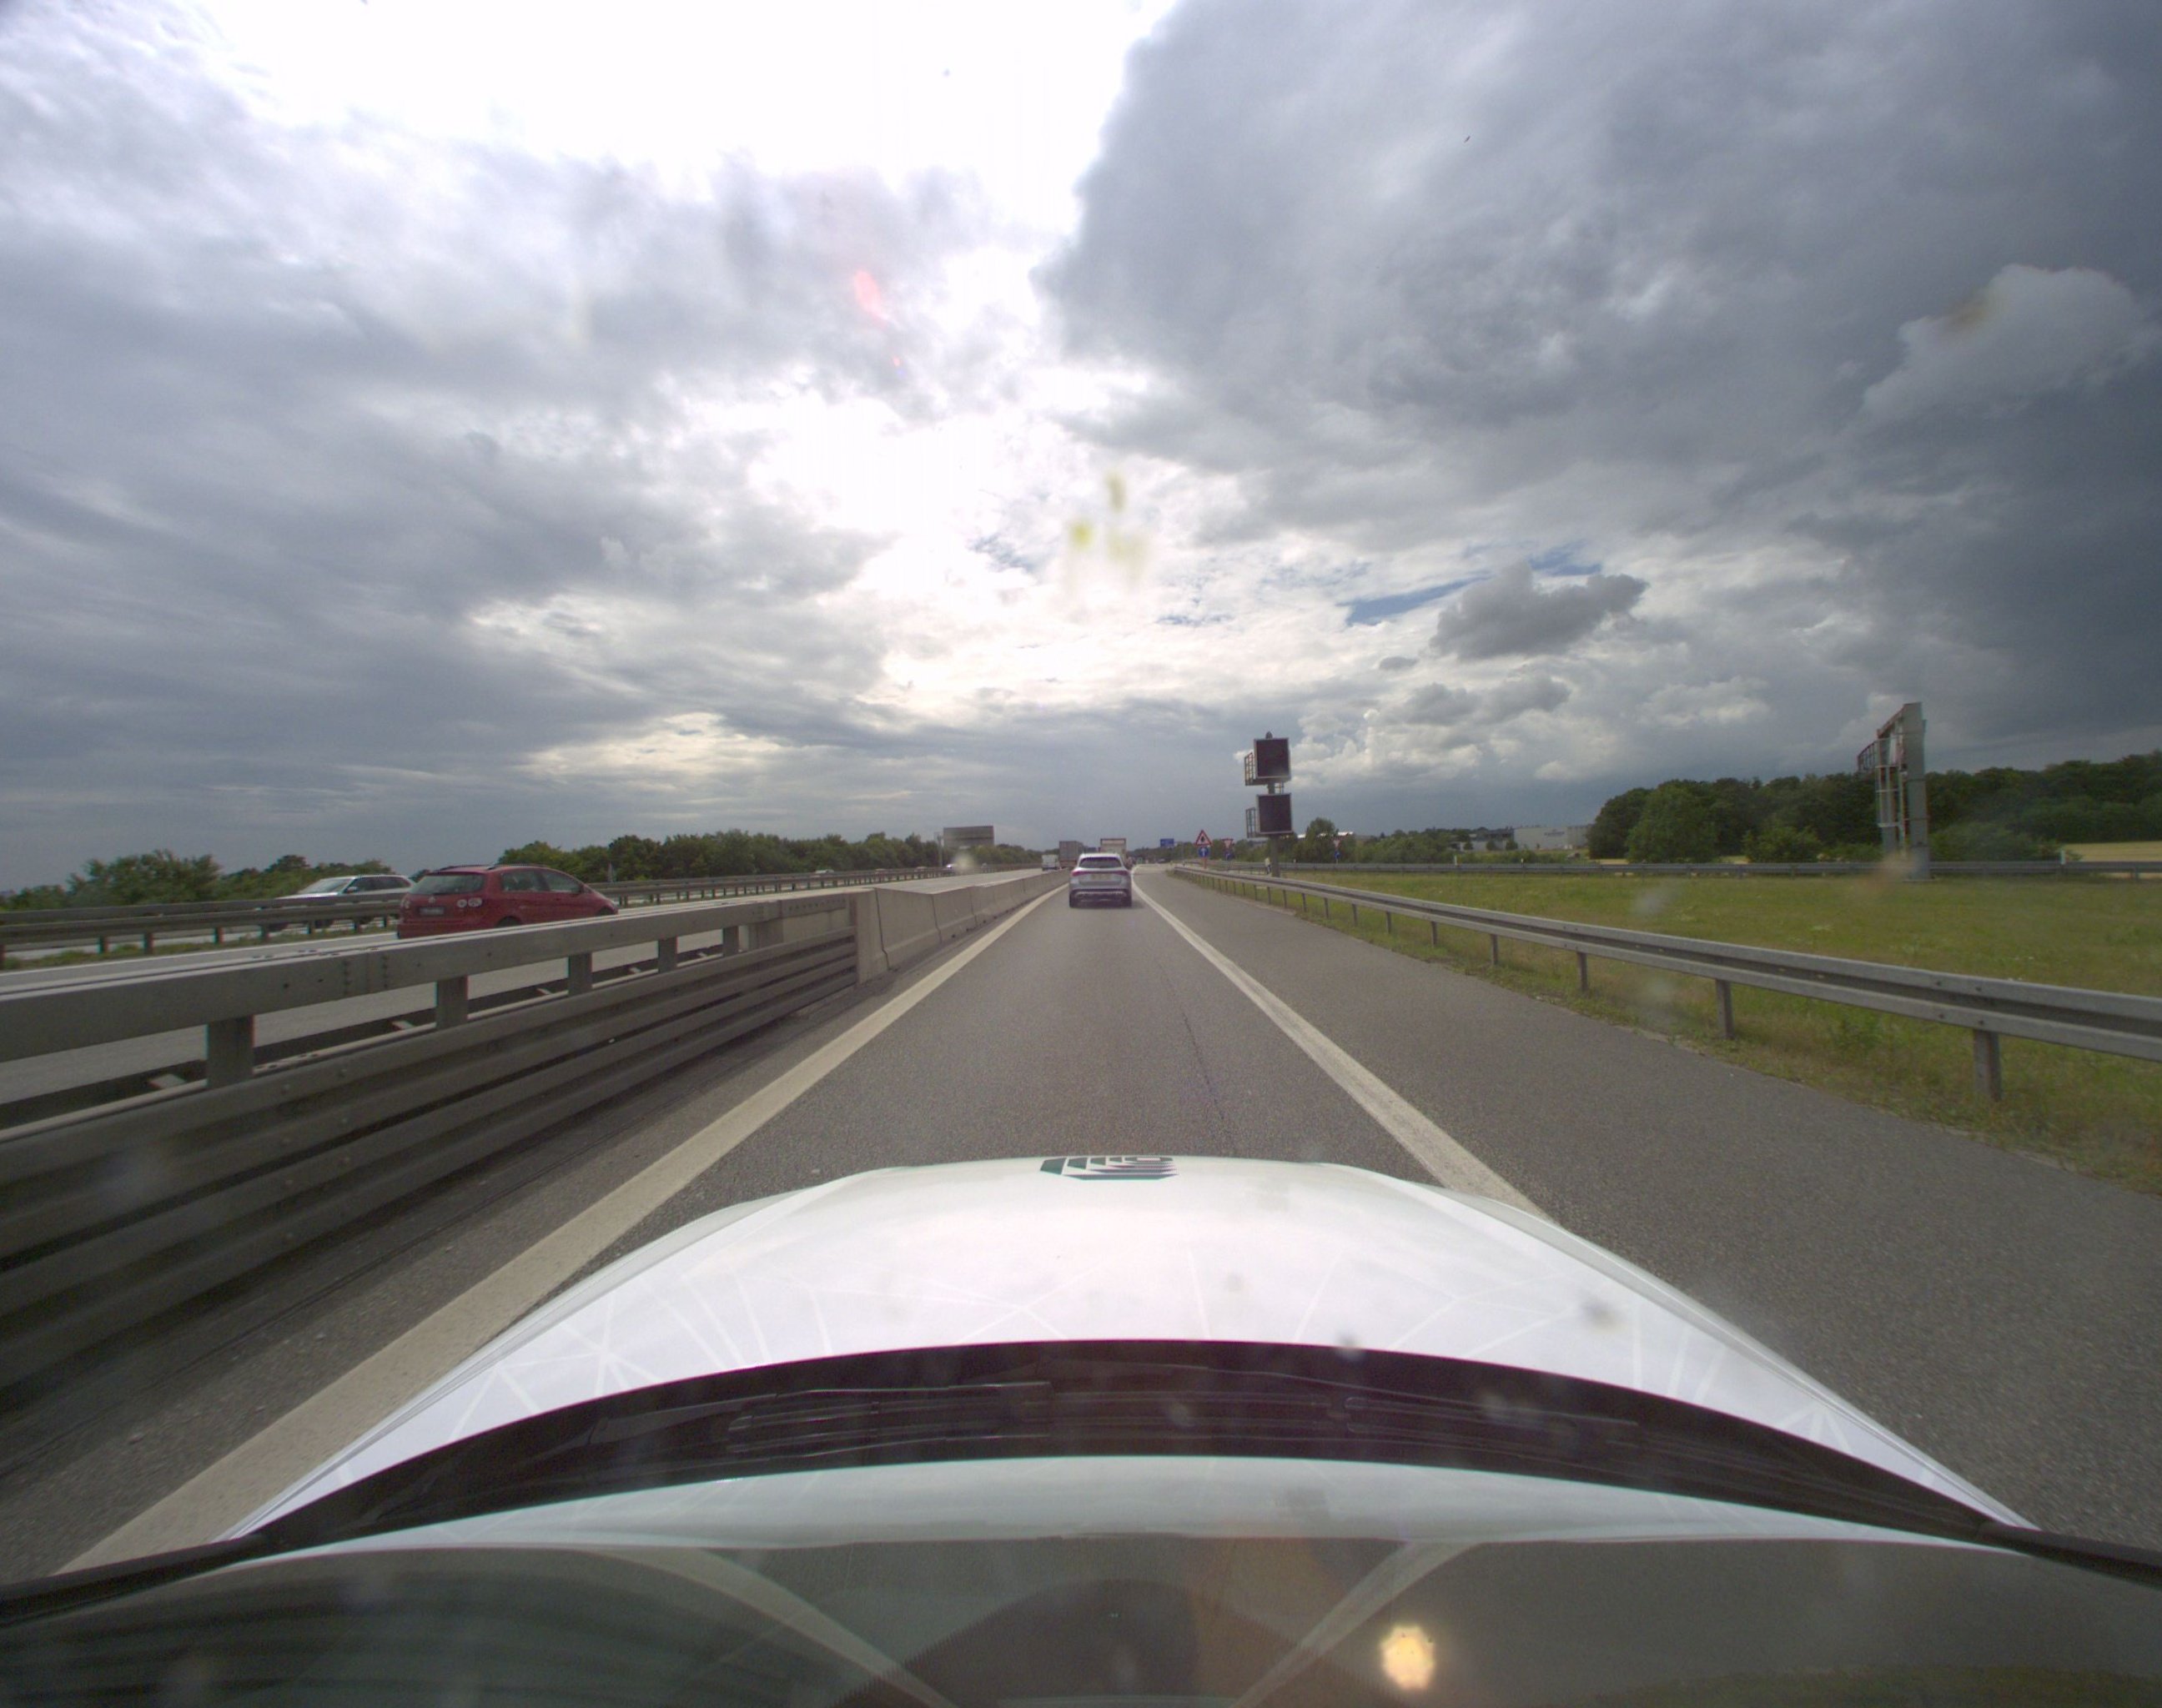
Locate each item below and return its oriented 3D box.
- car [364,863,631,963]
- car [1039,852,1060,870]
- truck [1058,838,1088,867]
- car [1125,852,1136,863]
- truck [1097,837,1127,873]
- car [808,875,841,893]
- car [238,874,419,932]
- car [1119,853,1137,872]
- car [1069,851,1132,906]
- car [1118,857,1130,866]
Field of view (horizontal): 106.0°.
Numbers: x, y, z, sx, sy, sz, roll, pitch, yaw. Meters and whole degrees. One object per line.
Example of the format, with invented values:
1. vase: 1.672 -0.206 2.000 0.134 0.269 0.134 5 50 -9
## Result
1. car: -10.983 1.007 15.816 1.811 1.545 4.359 -1 1 4
2. car: -3.935 0.850 101.773 1.984 2.013 4.381 -1 1 5
3. truck: -1.136 -0.299 123.712 3.169 4.018 16.094 -1 1 4
4. car: 9.730 0.701 160.465 1.984 2.013 4.381 -1 1 5
5. truck: 2.906 0.131 74.794 2.558 3.126 8.641 -1 0 3
6. car: -26.908 3.135 85.536 1.820 1.706 4.007 -1 0 6
7. car: -25.594 1.600 27.950 1.735 1.622 4.523 -1 1 5
8. car: 5.486 0.981 94.809 1.984 2.013 4.006 -1 1 5
9. car: 0.671 0.701 25.519 1.812 1.514 4.004 -1 1 3
10. car: 6.459 1.113 122.359 1.688 1.288 4.006 -1 0 6
